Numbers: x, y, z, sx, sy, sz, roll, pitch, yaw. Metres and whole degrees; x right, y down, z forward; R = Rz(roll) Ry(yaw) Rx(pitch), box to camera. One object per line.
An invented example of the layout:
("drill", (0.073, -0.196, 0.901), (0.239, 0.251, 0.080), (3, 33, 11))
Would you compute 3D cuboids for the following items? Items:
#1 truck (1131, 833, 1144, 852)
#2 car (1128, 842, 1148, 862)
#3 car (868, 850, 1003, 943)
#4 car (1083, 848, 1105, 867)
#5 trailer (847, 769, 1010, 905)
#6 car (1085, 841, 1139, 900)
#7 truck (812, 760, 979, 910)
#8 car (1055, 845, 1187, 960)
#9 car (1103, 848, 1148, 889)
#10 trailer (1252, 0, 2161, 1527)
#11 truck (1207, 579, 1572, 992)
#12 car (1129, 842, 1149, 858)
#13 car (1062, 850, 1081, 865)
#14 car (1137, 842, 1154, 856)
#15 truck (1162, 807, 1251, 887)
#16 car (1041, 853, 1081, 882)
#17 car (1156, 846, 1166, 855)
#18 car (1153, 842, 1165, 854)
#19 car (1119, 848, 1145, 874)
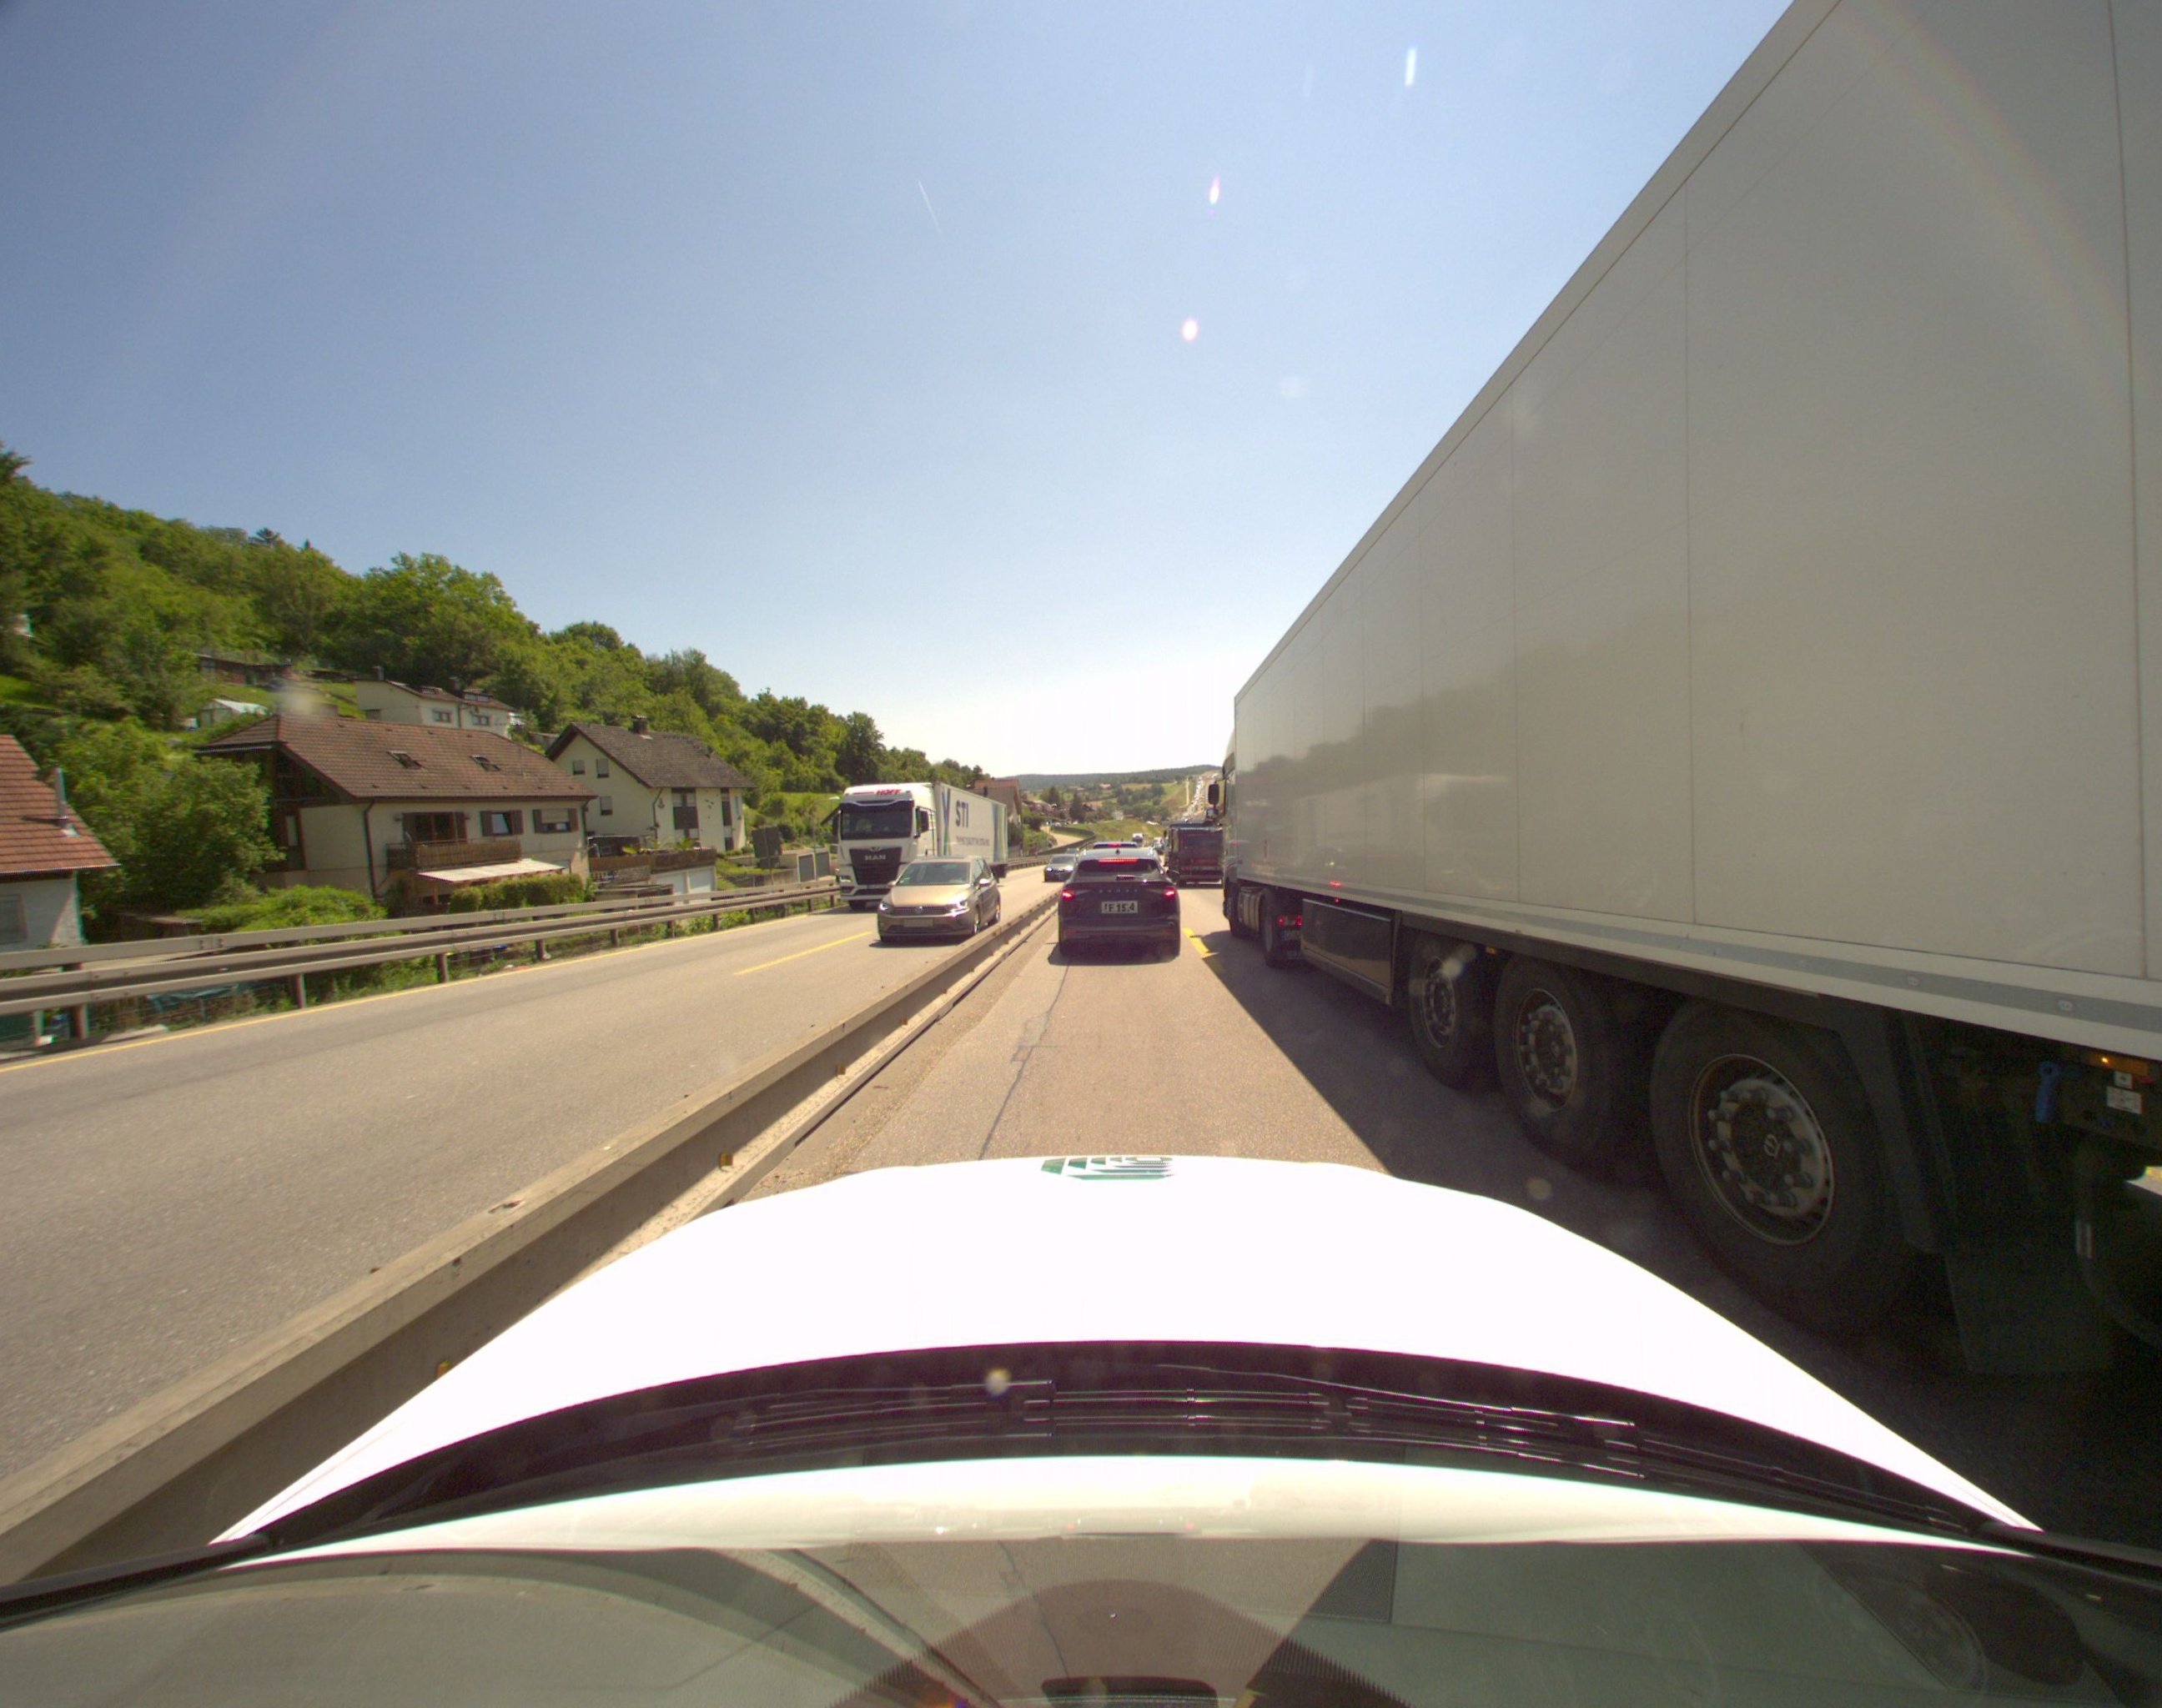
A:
("truck", (13.125, -2.704, 187.710), (2.737, 4.283, 4.967), (0, 1, 7))
("car", (5.030, -0.203, 71.610), (1.699, 1.622, 4.004), (0, 1, 3))
("car", (-2.710, 0.747, 16.098), (1.839, 1.574, 4.001), (-1, -1, 1))
("car", (1.182, 0.297, 72.858), (1.812, 1.586, 4.163), (1, 0, 3))
("trailer", (-5.594, -0.497, 33.517), (3.238, 4.378, 14.071), (0, 0, 3))
("car", (1.019, 0.511, 28.388), (1.701, 1.881, 4.000), (0, 1, 0))
("truck", (-5.959, -0.524, 27.969), (3.289, 4.362, 8.309), (0, -1, 4))
("car", (0.555, 0.692, 13.304), (1.837, 1.586, 3.906), (0, -1, 0))
("car", (1.854, 0.557, 35.165), (1.701, 1.622, 4.000), (0, 1, 0))
("trailer", (3.404, -0.785, 5.339), (2.522, 4.127, 11.553), (0, 0, 2))
("truck", (3.638, -0.639, 12.056), (2.504, 4.025, 8.241), (0, -1, 2))
("car", (5.950, -0.375, 83.104), (1.984, 1.585, 3.841), (0, -1, 4))
("car", (-0.984, 0.329, 82.538), (1.699, 1.465, 3.683), (0, 0, 3))
("car", (7.800, -0.592, 98.969), (1.984, 1.585, 3.841), (0, -1, 4))
("truck", (5.742, -0.229, 39.484), (3.181, 3.191, 12.822), (-1, 0, 4))
("car", (-1.026, 0.698, 44.734), (1.783, 1.453, 4.638), (-2, -1, 3))
("car", (15.529, -0.603, 157.551), (1.691, 1.728, 3.845), (0, -1, 8))
("car", (11.774, -0.838, 123.094), (1.691, 1.728, 3.845), (0, -1, 8))
("car", (3.439, 0.455, 54.724), (1.699, 1.622, 4.004), (0, 1, 3))
